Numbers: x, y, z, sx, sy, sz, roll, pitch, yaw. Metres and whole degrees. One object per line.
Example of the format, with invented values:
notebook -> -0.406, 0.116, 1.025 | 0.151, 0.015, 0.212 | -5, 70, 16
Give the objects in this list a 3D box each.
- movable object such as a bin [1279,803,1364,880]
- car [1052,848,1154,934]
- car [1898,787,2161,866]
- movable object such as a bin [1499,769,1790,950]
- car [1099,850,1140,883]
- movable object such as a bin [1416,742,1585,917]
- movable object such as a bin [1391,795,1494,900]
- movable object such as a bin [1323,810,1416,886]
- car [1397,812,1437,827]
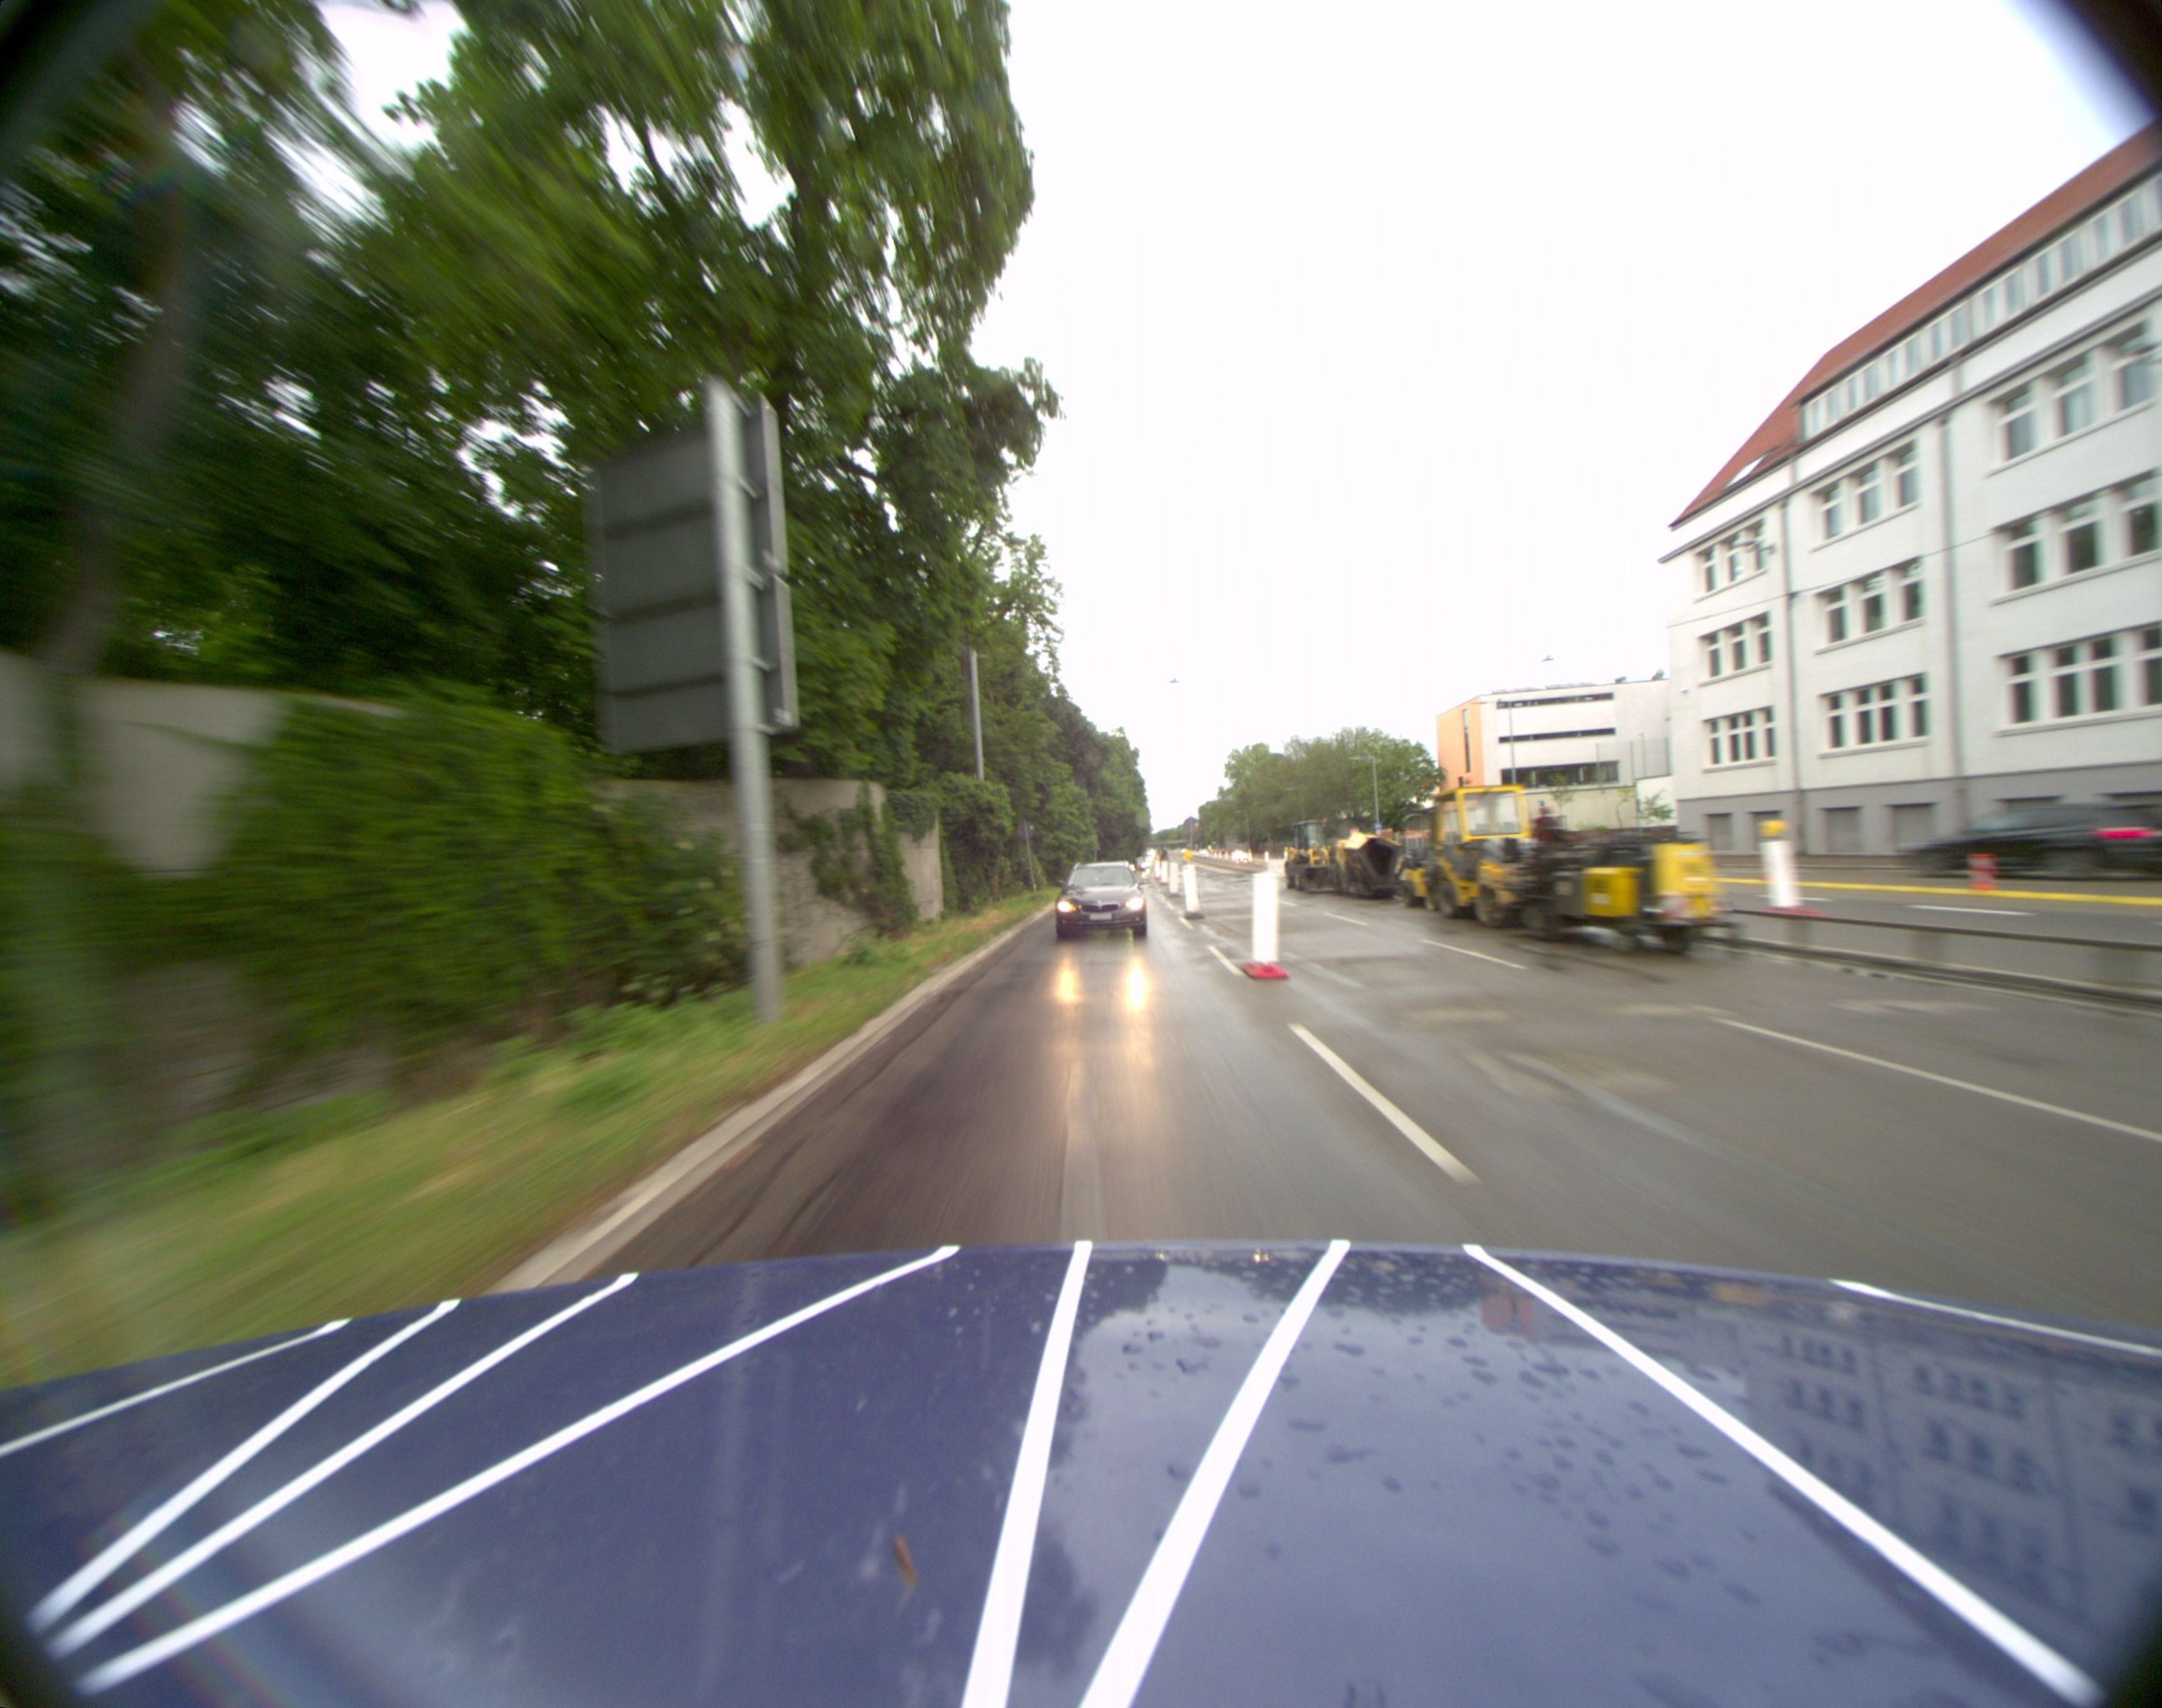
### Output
movable object such as a bin -> 9.107, -0.424, 29.242 | 1.906, 2.594, 5.385 | -3, 0, 6
car -> 0.614, 0.676, 16.310 | 1.742, 1.454, 4.460 | -4, 0, 6
car -> 21.752, -0.576, 17.120 | 1.838, 1.534, 4.558 | -3, 0, 3
movable object such as a bin -> 7.707, 0.068, 10.835 | 1.719, 2.137, 3.350 | -1, 0, 2
car -> 2.036, 0.577, 39.150 | 1.742, 1.454, 4.460 | -4, 0, 6
movable object such as a bin -> 8.095, -0.422, 15.043 | 1.469, 2.991, 3.725 | -1, 0, 4
movable object such as a bin -> 8.792, -0.143, 18.650 | 1.414, 2.387, 2.406 | -1, 0, 3
movable object such as a bin -> 8.929, -0.171, 23.938 | 1.365, 2.078, 5.032 | -3, 0, 6
car -> 41.117, -4.217, 92.958 | 4.013, 1.518, 2.004 | -4, 0, 44
